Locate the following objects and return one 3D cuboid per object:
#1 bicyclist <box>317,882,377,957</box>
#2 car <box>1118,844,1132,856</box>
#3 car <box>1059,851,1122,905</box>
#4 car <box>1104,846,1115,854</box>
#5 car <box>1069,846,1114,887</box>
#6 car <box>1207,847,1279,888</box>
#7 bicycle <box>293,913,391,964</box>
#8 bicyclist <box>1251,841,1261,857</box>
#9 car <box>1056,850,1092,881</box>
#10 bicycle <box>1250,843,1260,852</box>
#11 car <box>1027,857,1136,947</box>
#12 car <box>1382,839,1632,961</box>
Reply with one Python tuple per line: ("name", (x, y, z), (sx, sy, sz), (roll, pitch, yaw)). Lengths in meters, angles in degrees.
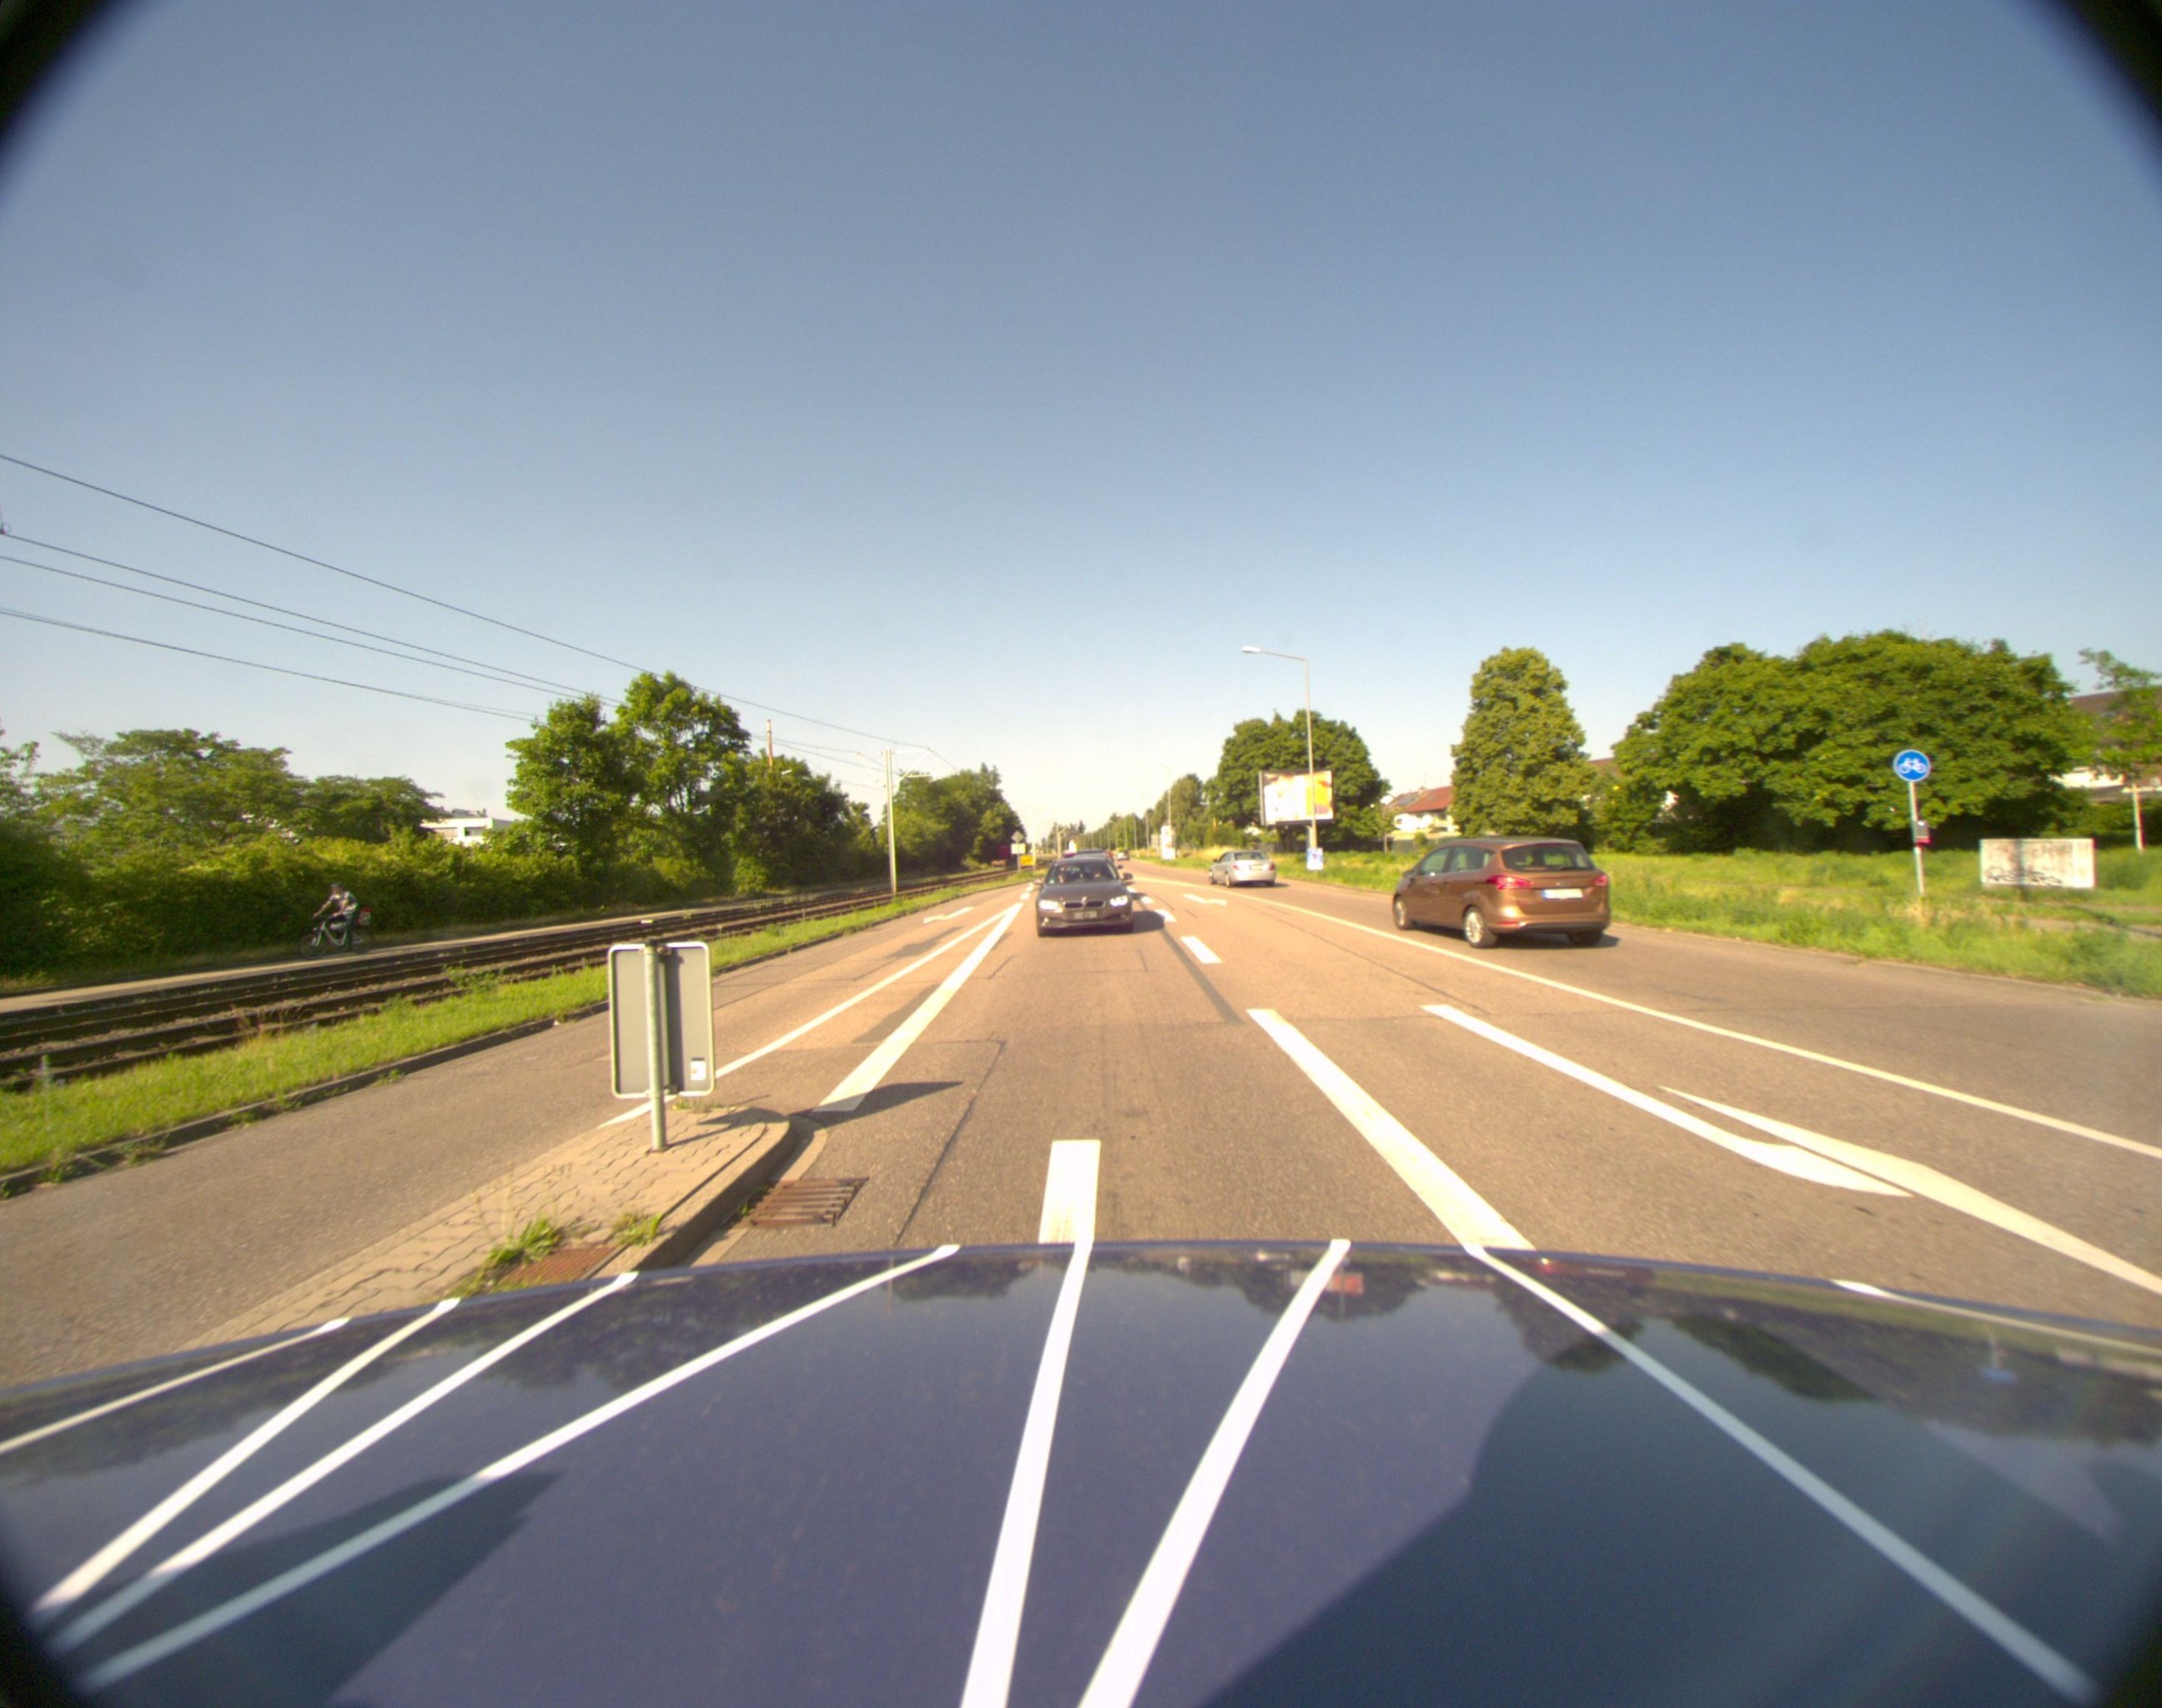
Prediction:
("bicyclist", (-18.560, 1.633, 19.218), (0.708, 1.797, 0.717), (-3, 1, 1))
("car", (6.084, -0.593, 105.663), (1.637, 1.551, 3.675), (-2, 1, 0))
("car", (0.315, 0.707, 24.894), (1.821, 1.481, 4.610), (-3, 1, 1))
("car", (5.456, -0.750, 148.082), (1.699, 1.490, 3.674), (-2, 1, -4))
("car", (0.479, 0.506, 34.804), (1.821, 1.641, 4.610), (-4, 1, 1))
("car", (6.271, 0.474, 29.845), (1.707, 1.456, 4.368), (-1, 0, -2))
("bicycle", (-18.545, 2.095, 19.133), (0.547, 1.041, 1.873), (-3, 1, 1))
("bicyclist", (15.835, -0.415, 68.898), (0.638, 1.420, 1.071), (-2, 1, 1))
("car", (-0.332, 0.573, 41.110), (1.807, 1.498, 4.197), (-3, 1, 1))
("bicycle", (15.820, -0.616, 69.048), (0.455, 0.749, 1.834), (-3, 1, 0))
("car", (0.051, 0.848, 15.542), (1.821, 1.416, 4.461), (-4, 1, 1))
("car", (6.297, 0.584, 11.828), (1.749, 1.553, 4.000), (-1, 1, 2))
